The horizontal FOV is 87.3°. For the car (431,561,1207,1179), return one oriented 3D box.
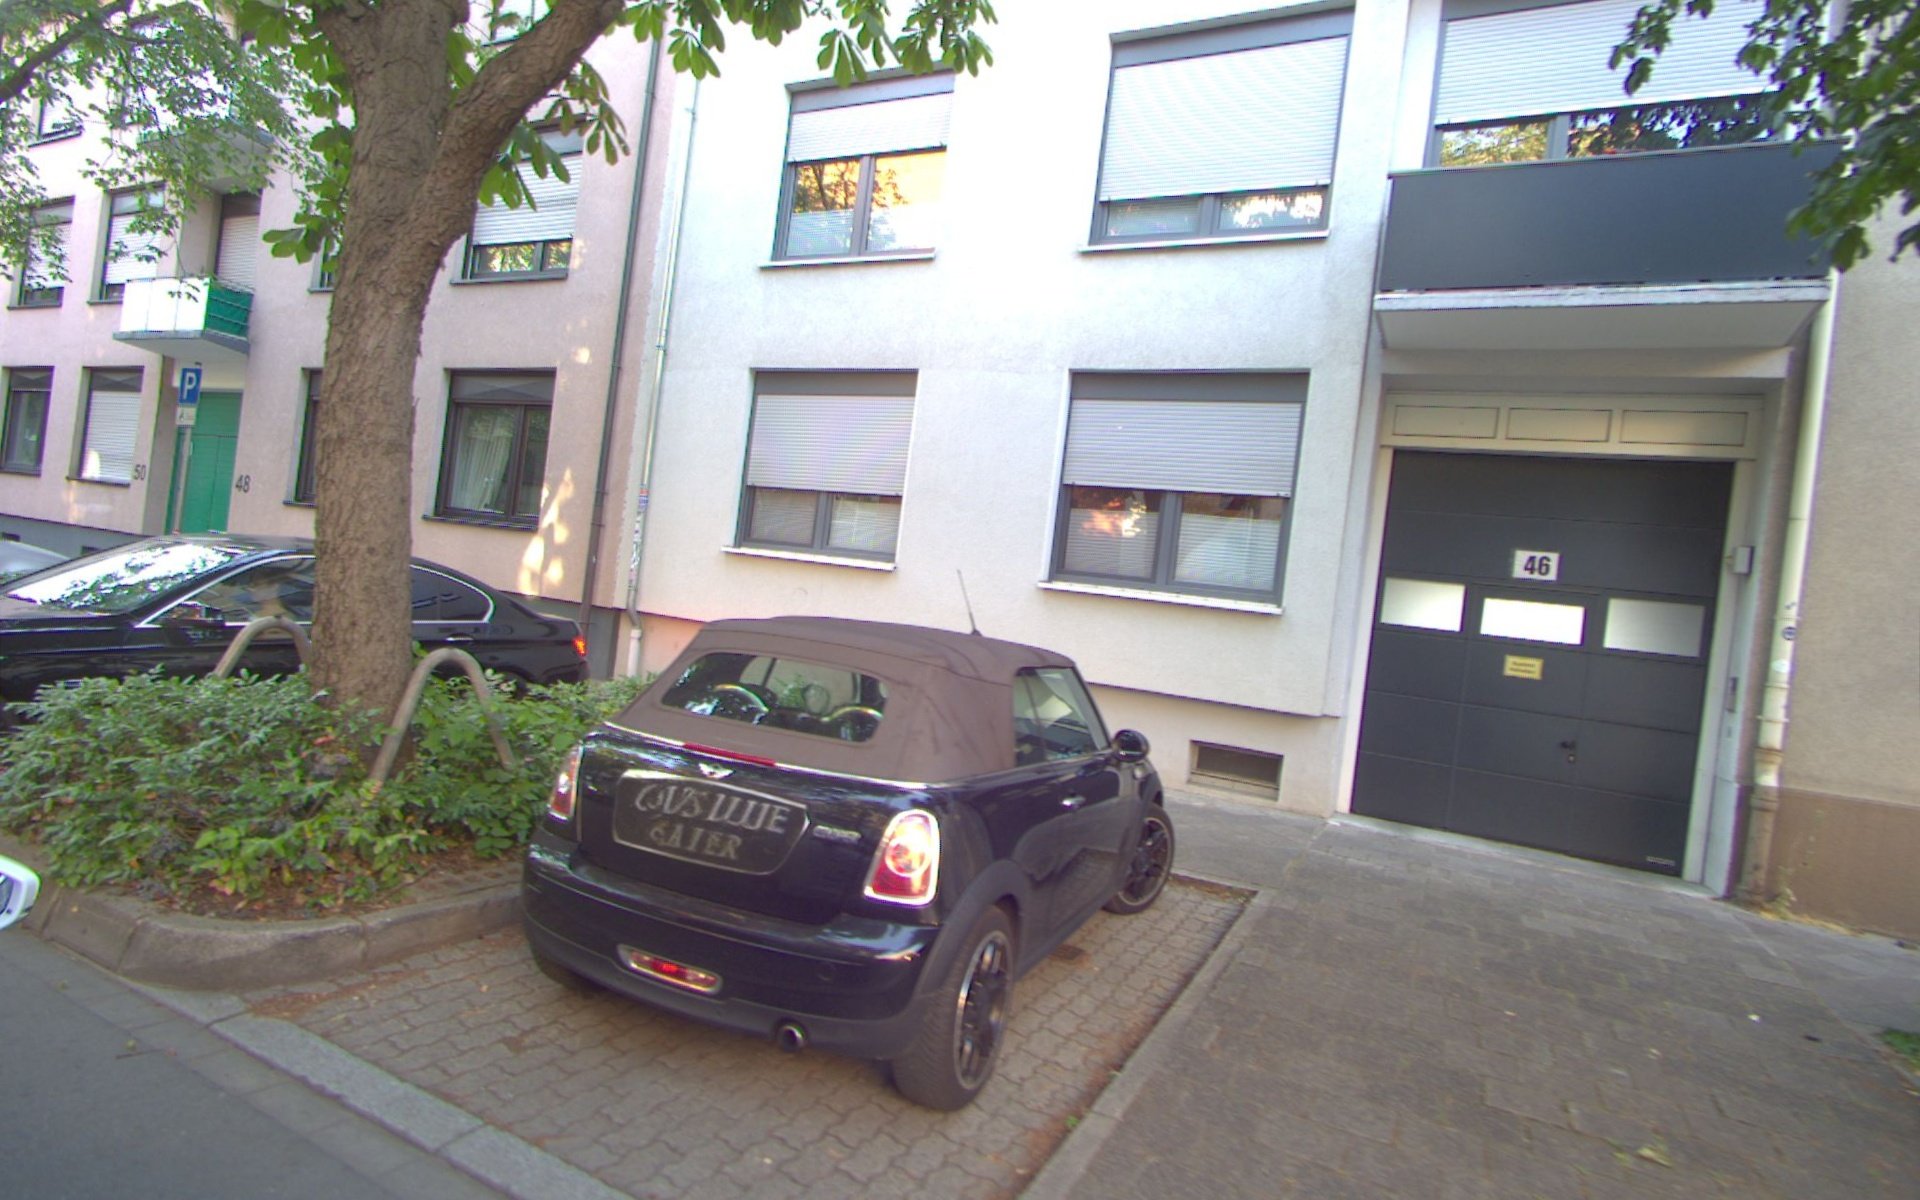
[{"bbox_3d":[-0.119,0.773,4.467,1.634,1.380,3.621,7,-1,24],"label":"car"}]

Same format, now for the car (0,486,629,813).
[{"bbox_3d":[-4.538,0.247,6.216,1.769,1.497,4.757,7,-1,27],"label":"car"}]

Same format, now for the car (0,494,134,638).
[{"bbox_3d":[-11.286,-0.522,10.325,1.635,1.494,3.920,7,-1,25],"label":"car"}]
